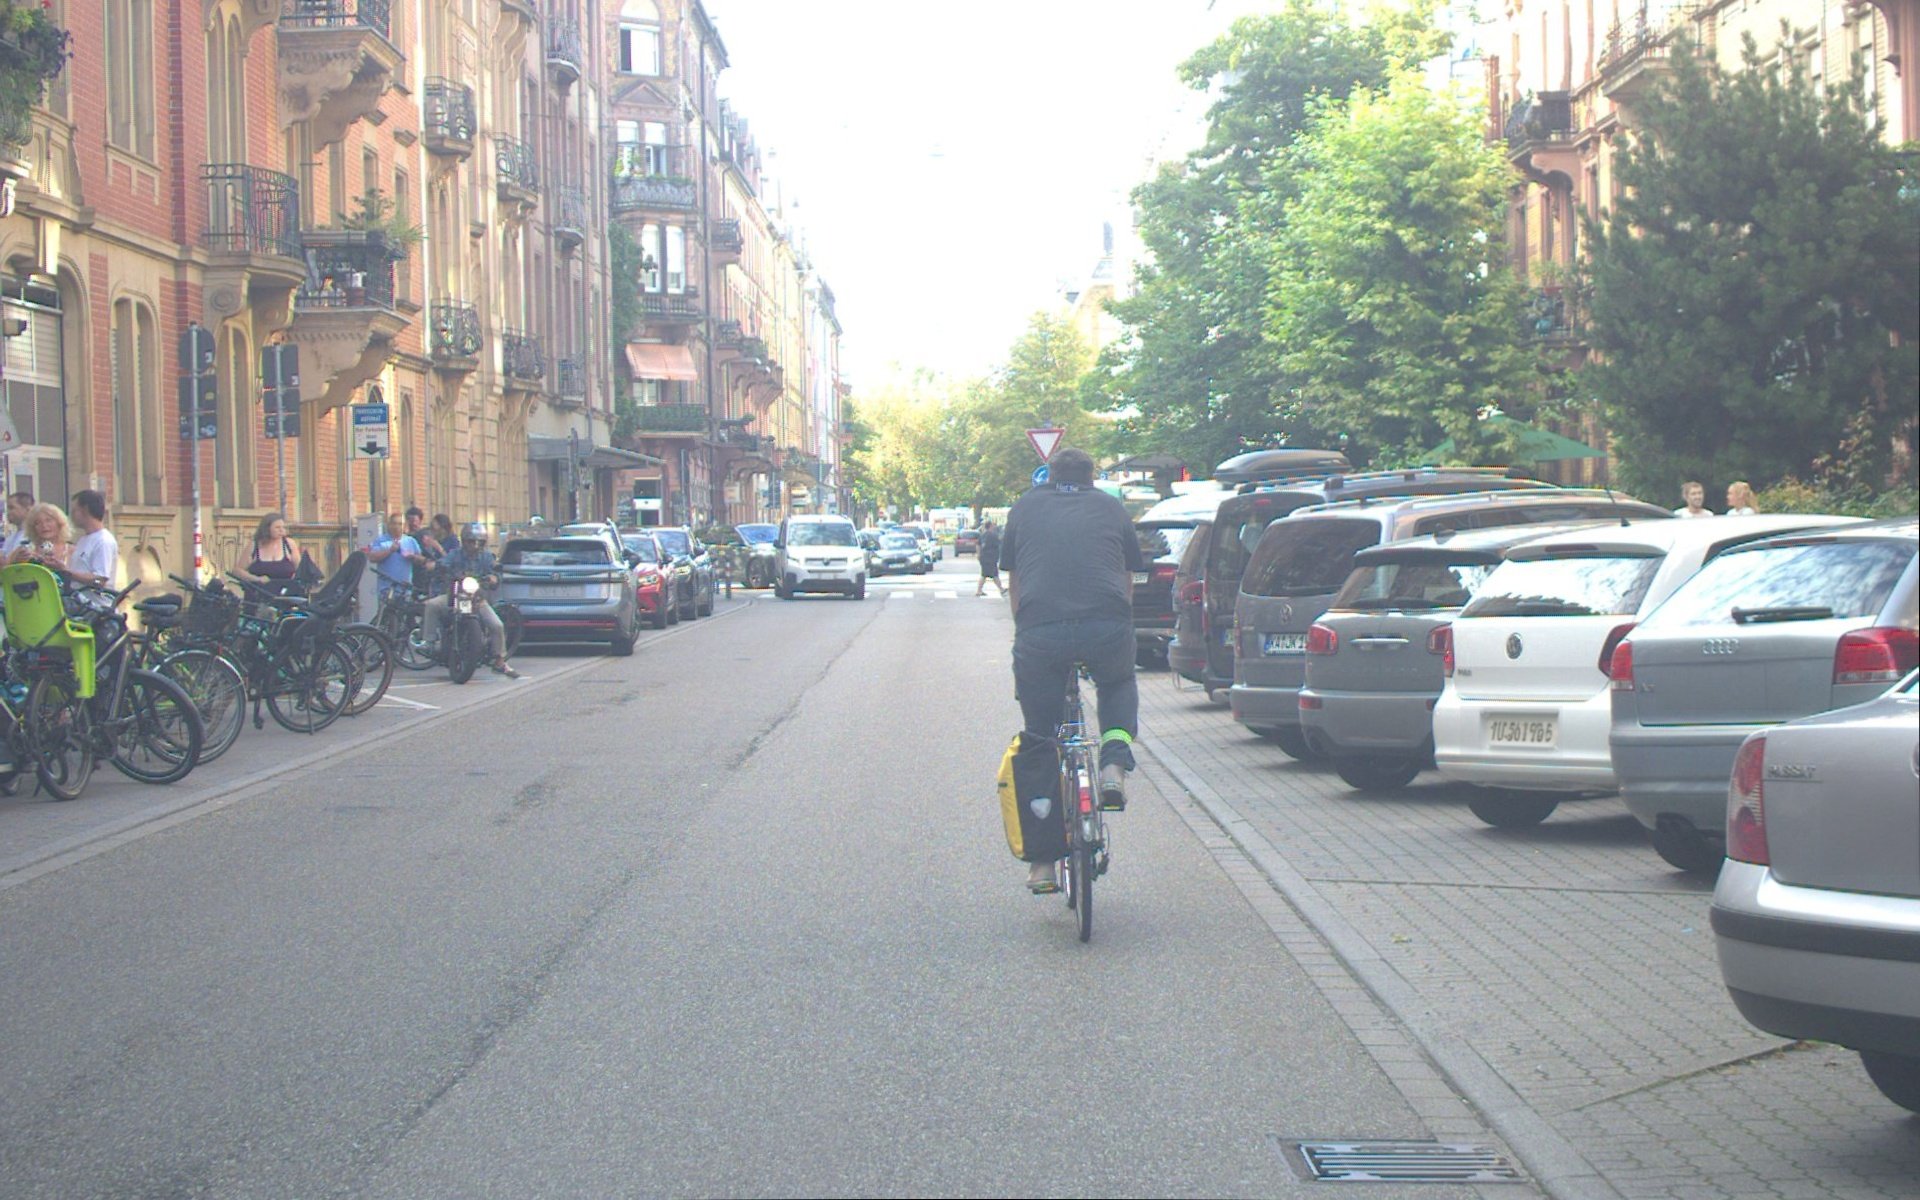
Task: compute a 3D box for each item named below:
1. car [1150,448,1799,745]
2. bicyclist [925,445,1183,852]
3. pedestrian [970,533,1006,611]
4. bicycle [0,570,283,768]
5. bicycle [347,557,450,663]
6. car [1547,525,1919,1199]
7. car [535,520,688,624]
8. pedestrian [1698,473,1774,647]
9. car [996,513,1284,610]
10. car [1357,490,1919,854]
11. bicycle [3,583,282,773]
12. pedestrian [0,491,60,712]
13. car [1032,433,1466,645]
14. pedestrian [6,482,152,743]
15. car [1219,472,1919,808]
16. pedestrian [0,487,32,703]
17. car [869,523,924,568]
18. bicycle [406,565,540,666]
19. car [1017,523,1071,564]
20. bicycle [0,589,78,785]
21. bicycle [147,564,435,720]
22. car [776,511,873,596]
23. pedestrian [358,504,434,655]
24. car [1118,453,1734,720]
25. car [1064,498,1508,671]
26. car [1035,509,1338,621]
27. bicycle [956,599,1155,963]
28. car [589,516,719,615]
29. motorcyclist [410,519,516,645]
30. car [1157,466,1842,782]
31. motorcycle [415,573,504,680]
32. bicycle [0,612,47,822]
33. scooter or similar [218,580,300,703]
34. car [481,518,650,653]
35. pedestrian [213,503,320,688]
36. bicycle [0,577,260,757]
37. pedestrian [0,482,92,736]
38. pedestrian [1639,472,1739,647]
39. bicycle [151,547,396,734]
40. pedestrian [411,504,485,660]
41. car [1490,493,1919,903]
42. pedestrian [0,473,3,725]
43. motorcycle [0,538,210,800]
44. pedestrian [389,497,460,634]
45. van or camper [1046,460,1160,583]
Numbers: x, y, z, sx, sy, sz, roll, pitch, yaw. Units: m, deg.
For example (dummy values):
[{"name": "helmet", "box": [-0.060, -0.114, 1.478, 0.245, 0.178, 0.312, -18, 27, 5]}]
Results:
[{"name": "car", "box": [3.707, -0.064, 24.503, 4.390, 1.816, 1.755, -4, 1, -31]}, {"name": "bicyclist", "box": [0.341, 0.170, 12.885, 0.933, 1.478, 0.747, 0, 1, 0]}, {"name": "pedestrian", "box": [0.636, -0.639, 77.828, 0.629, 1.733, 0.775, -1, 1, 12]}, {"name": "bicycle", "box": [-5.248, 0.417, 21.814, 1.785, 1.196, 0.591, -1, 1, -36]}, {"name": "bicycle", "box": [-6.005, 0.093, 36.854, 0.493, 1.091, 1.904, 1, 1, 9]}, {"name": "car", "box": [3.824, 0.474, 8.484, 4.597, 1.446, 1.793, -4, 2, -32]}, {"name": "car", "box": [-5.455, -0.465, 54.266, 1.993, 1.539, 4.427, -1, 1, -1]}, {"name": "pedestrian", "box": [7.446, -0.385, 33.006, 0.573, 1.653, 0.633, 0, 1, 0]}, {"name": "car", "box": [3.258, -0.716, 62.089, 4.753, 1.452, 2.057, -4, 3, -28]}, {"name": "car", "box": [4.078, 0.250, 16.617, 3.987, 1.445, 1.736, -5, 1, -32]}, {"name": "bicycle", "box": [-5.030, 0.460, 21.198, 1.565, 1.116, 0.591, -1, 1, -36]}, {"name": "pedestrian", "box": [-7.373, 0.005, 26.595, 0.663, 1.690, 0.586, 0, 1, -31]}, {"name": "car", "box": [3.586, -0.778, 42.226, 5.143, 2.397, 1.918, -3, 1, -33]}, {"name": "pedestrian", "box": [-6.001, 0.073, 23.448, 0.605, 1.745, 0.945, 0, 1, 12]}, {"name": "car", "box": [3.606, 0.158, 19.281, 3.988, 1.543, 1.868, -5, 2, -37]}, {"name": "pedestrian", "box": [-7.811, -0.049, 27.336, 0.663, 1.690, 0.763, 0, 1, 0]}, {"name": "car", "box": [-2.081, -1.745, 111.460, 1.750, 1.431, 4.212, 0, 1, -2]}, {"name": "bicycle", "box": [-5.248, 0.154, 37.169, 0.482, 1.055, 1.902, 1, 1, 24]}, {"name": "car", "box": [3.157, -2.150, 129.734, 1.993, 1.481, 4.000, -2, 1, 1]}, {"name": "bicycle", "box": [-5.686, 0.499, 19.520, 0.578, 1.086, 1.737, 1, 1, 13]}, {"name": "bicycle", "box": [-5.245, 0.305, 27.083, 0.808, 1.155, 2.265, 1, 2, 37]}, {"name": "car", "box": [-2.959, -1.038, 75.822, 1.917, 1.822, 4.438, 0, 1, 0]}, {"name": "pedestrian", "box": [-6.244, -0.235, 38.059, 0.679, 1.655, 0.551, 0, 1, -30]}, {"name": "car", "box": [3.704, -0.144, 27.854, 4.636, 1.778, 1.810, -4, 3, -1]}, {"name": "car", "box": [3.491, -0.215, 36.510, 4.444, 1.726, 2.000, -1, 2, -35]}, {"name": "car", "box": [3.563, -0.564, 53.665, 4.455, 1.459, 1.879, -5, 3, -34]}, {"name": "bicycle", "box": [0.320, 0.611, 12.843, 0.665, 1.174, 2.497, 0, 1, 0]}, {"name": "car", "box": [-5.265, -0.616, 59.736, 1.790, 1.623, 4.847, -1, 1, 0]}, {"name": "motorcyclist", "box": [-4.950, -0.188, 34.266, 1.013, 1.241, 0.803, 0, 1, -6]}, {"name": "car", "box": [3.454, 0.097, 21.859, 3.987, 1.735, 1.840, -3, 2, -31]}, {"name": "motorcycle", "box": [-4.965, 0.245, 34.227, 0.793, 0.992, 2.500, 0, 1, -7]}, {"name": "bicycle", "box": [-5.476, 0.574, 17.484, 1.683, 1.027, 0.409, 1, 1, 21]}, {"name": "scooter or similar", "box": [-6.210, 0.361, 30.489, 0.605, 1.051, 0.922, 0, 1, -5]}, {"name": "car", "box": [-4.856, -0.223, 42.870, 1.825, 1.573, 5.264, 0, 1, -4]}, {"name": "pedestrian", "box": [-6.299, -0.048, 31.264, 0.910, 1.655, 0.828, 0, 1, -8]}, {"name": "bicycle", "box": [-5.482, 0.417, 22.403, 1.733, 1.116, 0.555, -1, 1, -36]}, {"name": "pedestrian", "box": [-6.515, 0.053, 24.051, 0.605, 1.745, 0.725, 0, 1, 10]}, {"name": "pedestrian", "box": [7.128, -0.403, 33.631, 0.646, 1.689, 0.699, -1, 2, -43]}, {"name": "bicycle", "box": [-4.969, 0.276, 24.923, 1.672, 1.317, 0.527, 0, 1, -36]}, {"name": "pedestrian", "box": [-5.653, -0.208, 37.926, 0.564, 1.703, 0.667, 0, 1, -35]}, {"name": "car", "box": [4.336, 0.272, 14.209, 3.988, 1.456, 1.887, -4, 1, -36]}, {"name": "pedestrian", "box": [-7.507, -0.014, 25.267, 0.761, 1.847, 0.666, 0, 1, -31]}, {"name": "motorcycle", "box": [-5.000, 0.349, 19.294, 0.707, 1.379, 2.022, 1, 1, 14]}, {"name": "pedestrian", "box": [-7.123, -0.467, 45.769, 0.756, 1.802, 0.863, 0, 1, 4]}, {"name": "van or camper", "box": [3.643, -2.027, 88.407, 2.531, 3.026, 4.459, -1, 1, -2]}]
